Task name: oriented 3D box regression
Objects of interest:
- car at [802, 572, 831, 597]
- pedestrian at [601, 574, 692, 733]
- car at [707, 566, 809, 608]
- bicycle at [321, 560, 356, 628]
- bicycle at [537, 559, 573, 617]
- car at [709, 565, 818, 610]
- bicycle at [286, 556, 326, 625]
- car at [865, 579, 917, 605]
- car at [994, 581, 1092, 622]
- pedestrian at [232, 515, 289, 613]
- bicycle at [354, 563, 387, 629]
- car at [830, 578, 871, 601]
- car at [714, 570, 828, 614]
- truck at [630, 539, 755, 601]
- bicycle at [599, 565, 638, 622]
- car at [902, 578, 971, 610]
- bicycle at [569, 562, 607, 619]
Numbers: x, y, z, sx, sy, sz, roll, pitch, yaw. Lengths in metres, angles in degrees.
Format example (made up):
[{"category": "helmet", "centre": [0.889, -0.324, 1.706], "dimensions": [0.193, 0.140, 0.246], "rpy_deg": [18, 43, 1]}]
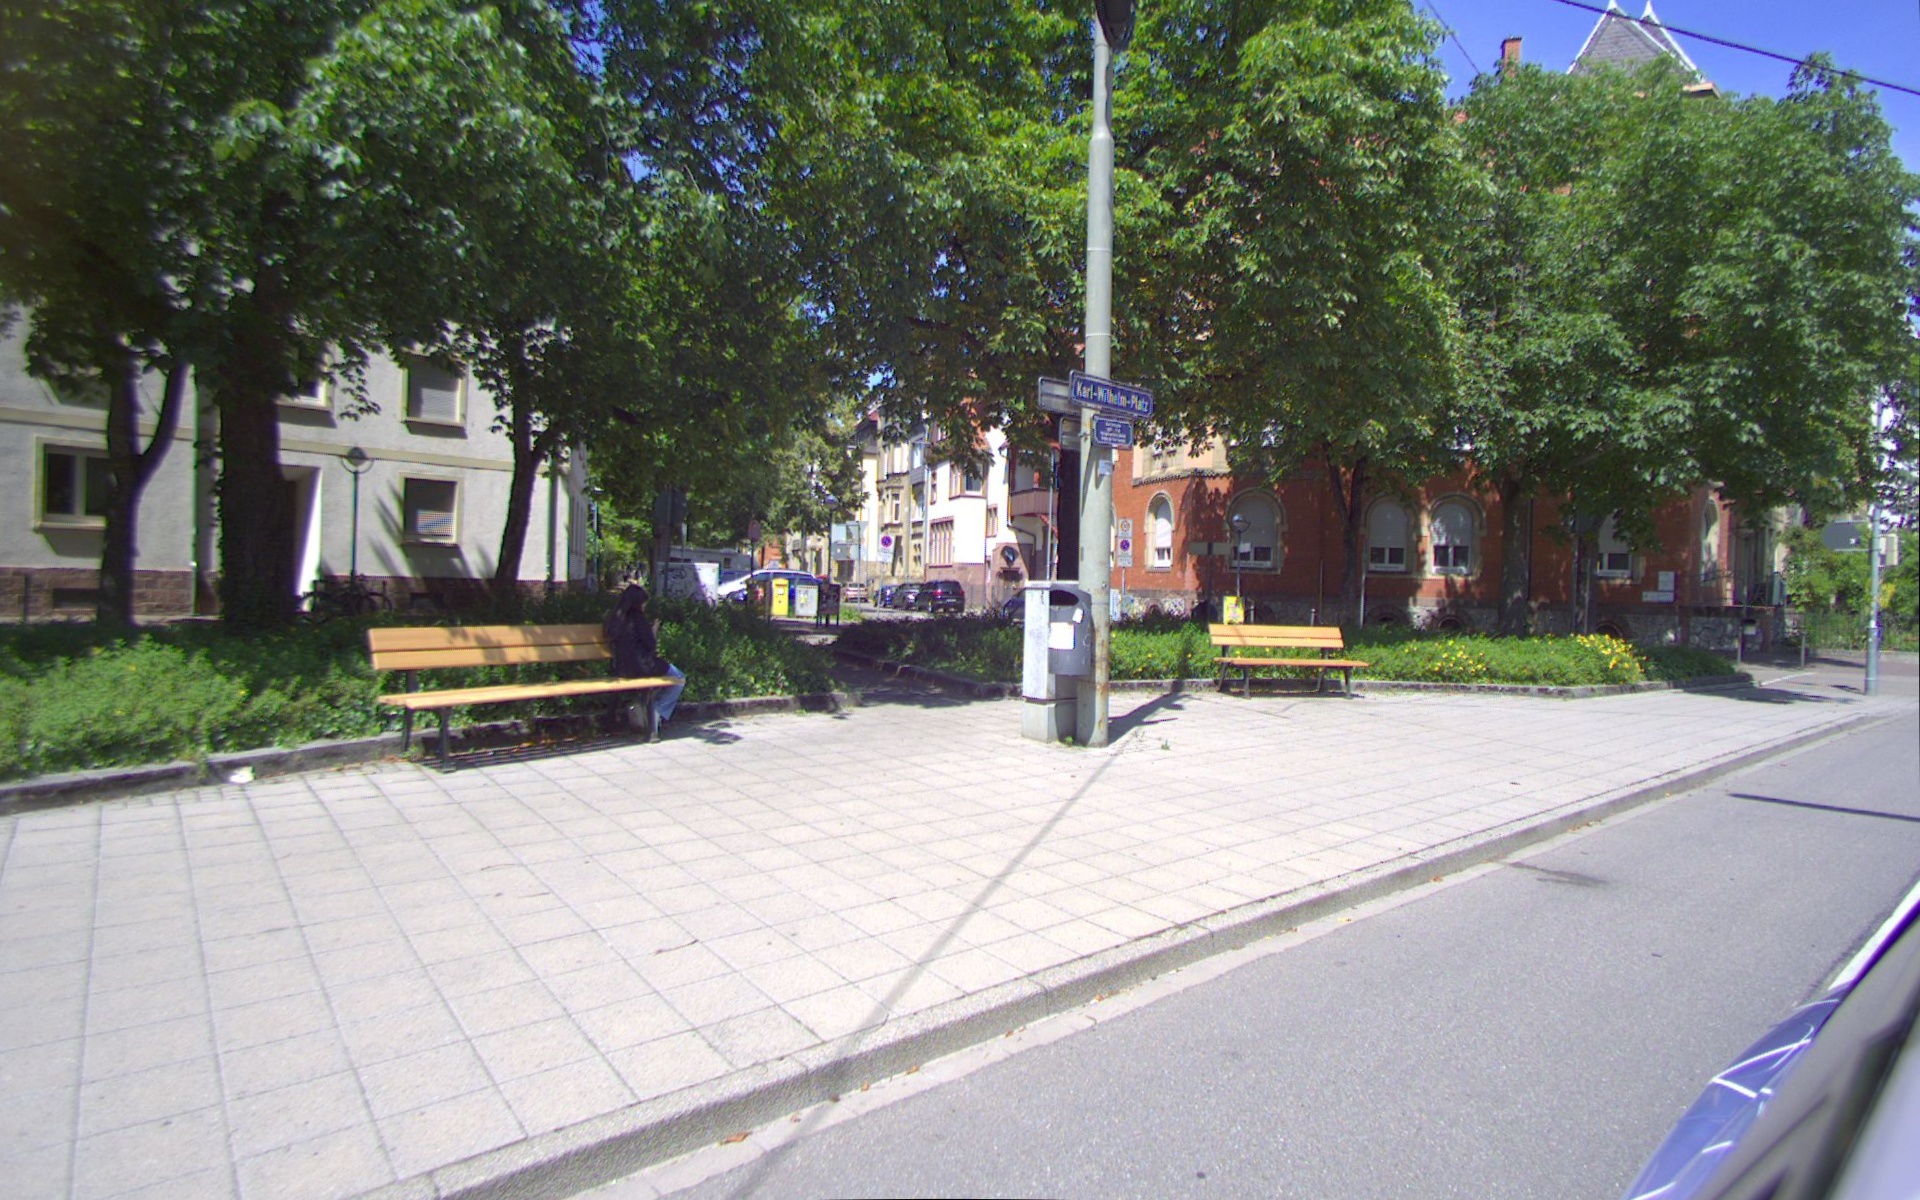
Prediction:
[{"category": "car", "centre": [-12.196, -1.320, 85.750], "dimensions": [1.868, 2.039, 4.009], "rpy_deg": [1, 1, -16]}, {"category": "pedestrian", "centre": [-2.326, 0.379, 7.493], "dimensions": [0.469, 1.105, 0.511], "rpy_deg": [2, 2, -35]}, {"category": "car", "centre": [-8.995, -0.561, 45.023], "dimensions": [4.176, 1.673, 1.731], "rpy_deg": [2, 0, -21]}, {"category": "bicycle", "centre": [-13.146, -0.144, 21.444], "dimensions": [0.505, 1.364, 2.247], "rpy_deg": [1, 1, -28]}, {"category": "bicycle", "centre": [-9.677, -0.297, 24.129], "dimensions": [0.536, 1.316, 2.162], "rpy_deg": [1, 1, -28]}, {"category": "car", "centre": [-8.246, -0.514, 42.393], "dimensions": [4.176, 1.673, 1.731], "rpy_deg": [2, 0, -21]}, {"category": "bicycle", "centre": [-13.711, -0.215, 21.247], "dimensions": [0.505, 1.361, 2.332], "rpy_deg": [1, 1, -28]}, {"category": "car", "centre": [-4.265, -0.505, 61.537], "dimensions": [1.865, 1.482, 4.625], "rpy_deg": [0, 1, -21]}, {"category": "car", "centre": [3.087, 0.035, 38.807], "dimensions": [1.865, 1.459, 4.769], "rpy_deg": [0, 1, -21]}, {"category": "pedestrian", "centre": [-14.966, -0.754, 21.652], "dimensions": [0.802, 2.039, 0.763], "rpy_deg": [1, 0, 35]}, {"category": "bicycle", "centre": [-12.494, -0.102, 21.480], "dimensions": [0.536, 1.316, 2.162], "rpy_deg": [1, 1, -28]}, {"category": "car", "centre": [-7.860, -0.793, 72.195], "dimensions": [1.865, 1.575, 4.411], "rpy_deg": [0, 1, -21]}, {"category": "car", "centre": [-6.974, -0.275, 37.325], "dimensions": [3.807, 1.447, 1.731], "rpy_deg": [2, 0, -21]}, {"category": "truck", "centre": [-15.329, -1.690, 58.003], "dimensions": [6.685, 3.193, 1.939], "rpy_deg": [2, 0, -20]}, {"category": "bicycle", "centre": [-8.270, -0.176, 24.448], "dimensions": [0.536, 1.316, 2.162], "rpy_deg": [1, 1, -28]}, {"category": "car", "centre": [-1.304, -0.349, 52.066], "dimensions": [1.946, 1.551, 5.502], "rpy_deg": [0, 1, -19]}, {"category": "bicycle", "centre": [-8.927, -0.236, 24.233], "dimensions": [0.536, 1.316, 2.162], "rpy_deg": [1, 1, -28]}]
